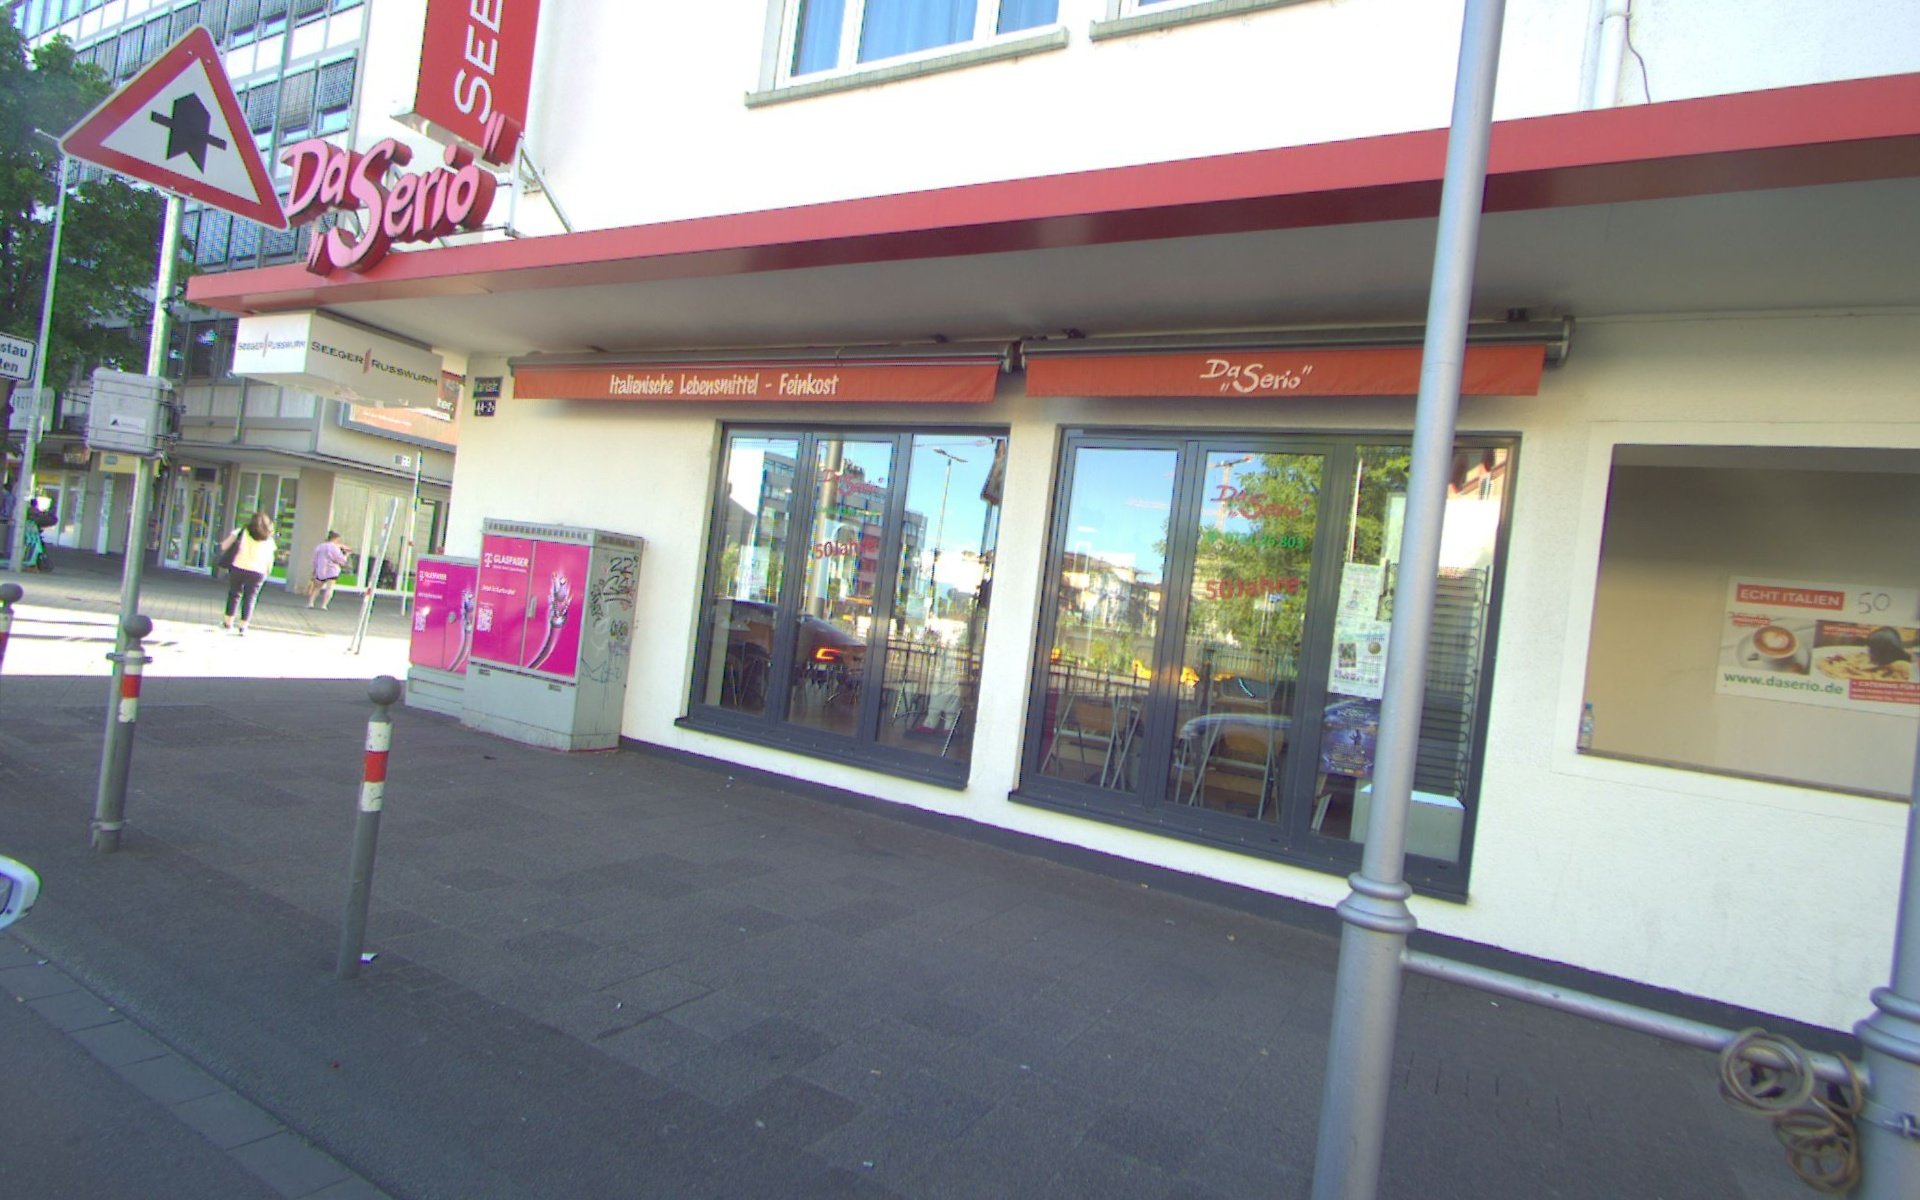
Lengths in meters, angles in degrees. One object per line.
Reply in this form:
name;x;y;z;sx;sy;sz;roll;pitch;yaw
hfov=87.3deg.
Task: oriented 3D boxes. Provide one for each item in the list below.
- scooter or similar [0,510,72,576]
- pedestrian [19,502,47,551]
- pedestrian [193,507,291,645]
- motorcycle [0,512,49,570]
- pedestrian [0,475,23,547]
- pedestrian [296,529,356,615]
scooter or similar;-19.929;-1.234;21.172;1.628;1.229;0.640;8;-1;-29
pedestrian;-27.451;-2.182;29.787;0.504;1.359;0.390;6;-1;34
pedestrian;-10.027;-0.334;14.083;0.909;1.773;1.029;7;0;-35
motorcycle;-21.562;-1.380;22.401;0.532;1.186;1.711;7;-2;30
pedestrian;-27.962;-2.612;29.301;0.570;2.037;0.663;6;-1;34
pedestrian;-13.561;-0.590;21.515;0.884;1.687;0.801;8;-1;-35
